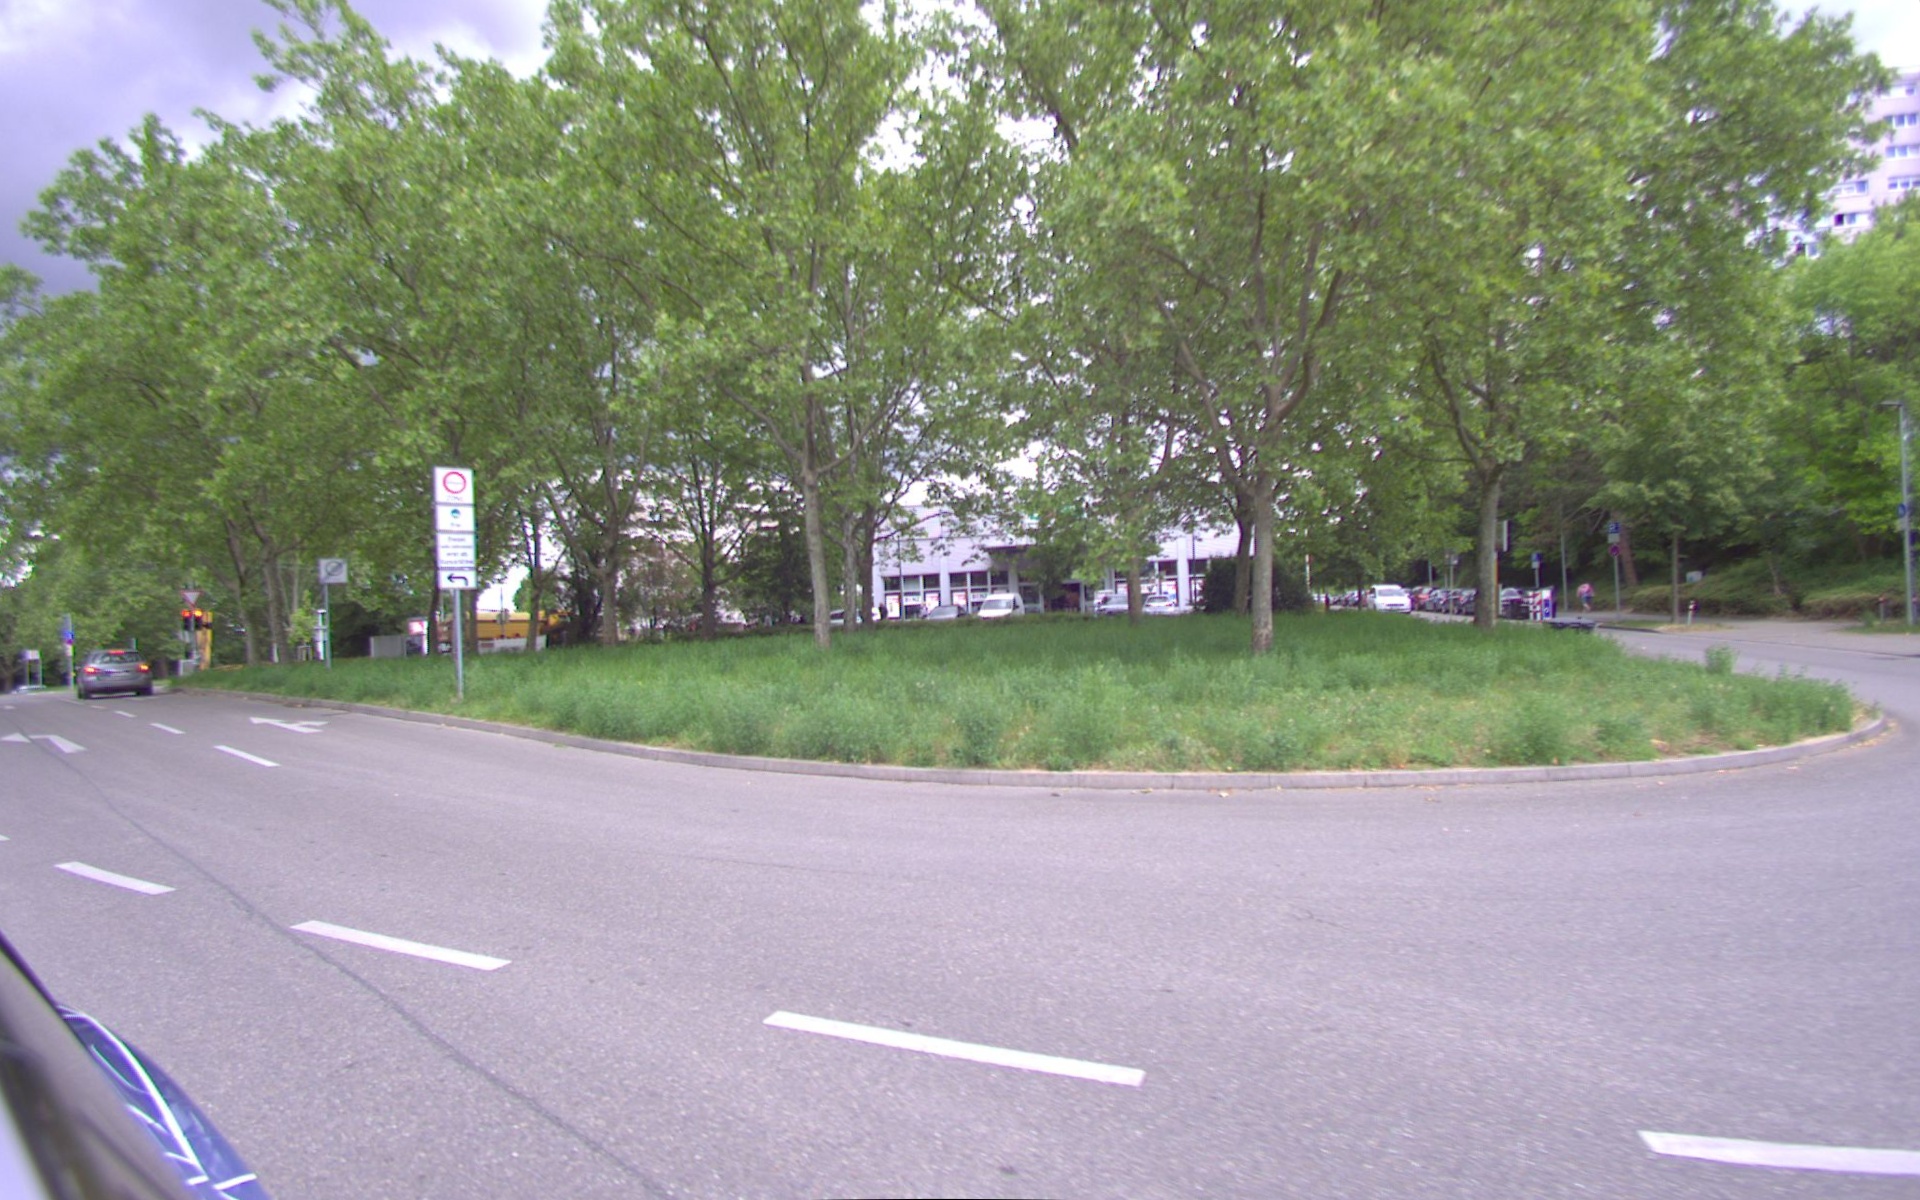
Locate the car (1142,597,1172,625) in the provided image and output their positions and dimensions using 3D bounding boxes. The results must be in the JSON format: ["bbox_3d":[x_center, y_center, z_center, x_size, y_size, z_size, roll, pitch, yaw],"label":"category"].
[{"bbox_3d":[11.258,0.604,57.727,1.637,1.475,3.985,-1,0,12],"label":"car"}]

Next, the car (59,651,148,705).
[{"bbox_3d":[-28.451,2.525,33.588,3.999,1.527,1.735,-1,0,42],"label":"car"}]

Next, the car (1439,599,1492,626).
[{"bbox_3d":[28.483,0.686,57.115,1.763,1.497,3.661,-1,0,12],"label":"car"}]

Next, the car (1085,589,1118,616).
[{"bbox_3d":[8.286,0.145,59.065,1.637,1.475,3.985,-1,0,12],"label":"car"}]

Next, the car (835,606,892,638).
[{"bbox_3d":[-4.684,1.037,49.563,1.637,1.475,3.985,-1,0,12],"label":"car"}]

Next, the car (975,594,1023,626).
[{"bbox_3d":[1.932,0.477,48.823,1.637,1.475,3.985,-1,0,12],"label":"car"}]

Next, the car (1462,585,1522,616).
[{"bbox_3d":[27.401,0.038,52.212,1.763,1.497,3.661,-1,0,12],"label":"car"}]

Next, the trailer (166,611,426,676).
[{"bbox_3d":[-33.690,2.092,51.940,10.923,2.827,2.084,-1,0,-44],"label":"trailer"}]

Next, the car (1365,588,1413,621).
[{"bbox_3d":[24.621,0.265,58.192,1.763,1.785,3.985,-1,0,12],"label":"car"}]

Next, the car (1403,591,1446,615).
[{"bbox_3d":[30.535,0.221,66.652,1.763,1.497,3.661,-1,0,12],"label":"car"}]

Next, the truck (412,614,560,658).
[{"bbox_3d":[-27.093,1.999,58.153,7.412,2.230,2.084,-1,0,-44],"label":"truck"}]

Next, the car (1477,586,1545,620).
[{"bbox_3d":[25.592,0.118,47.133,1.763,1.497,3.661,-1,0,12],"label":"car"}]

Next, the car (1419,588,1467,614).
[{"bbox_3d":[29.444,0.049,61.804,1.763,1.497,3.661,-1,0,12],"label":"car"}]
